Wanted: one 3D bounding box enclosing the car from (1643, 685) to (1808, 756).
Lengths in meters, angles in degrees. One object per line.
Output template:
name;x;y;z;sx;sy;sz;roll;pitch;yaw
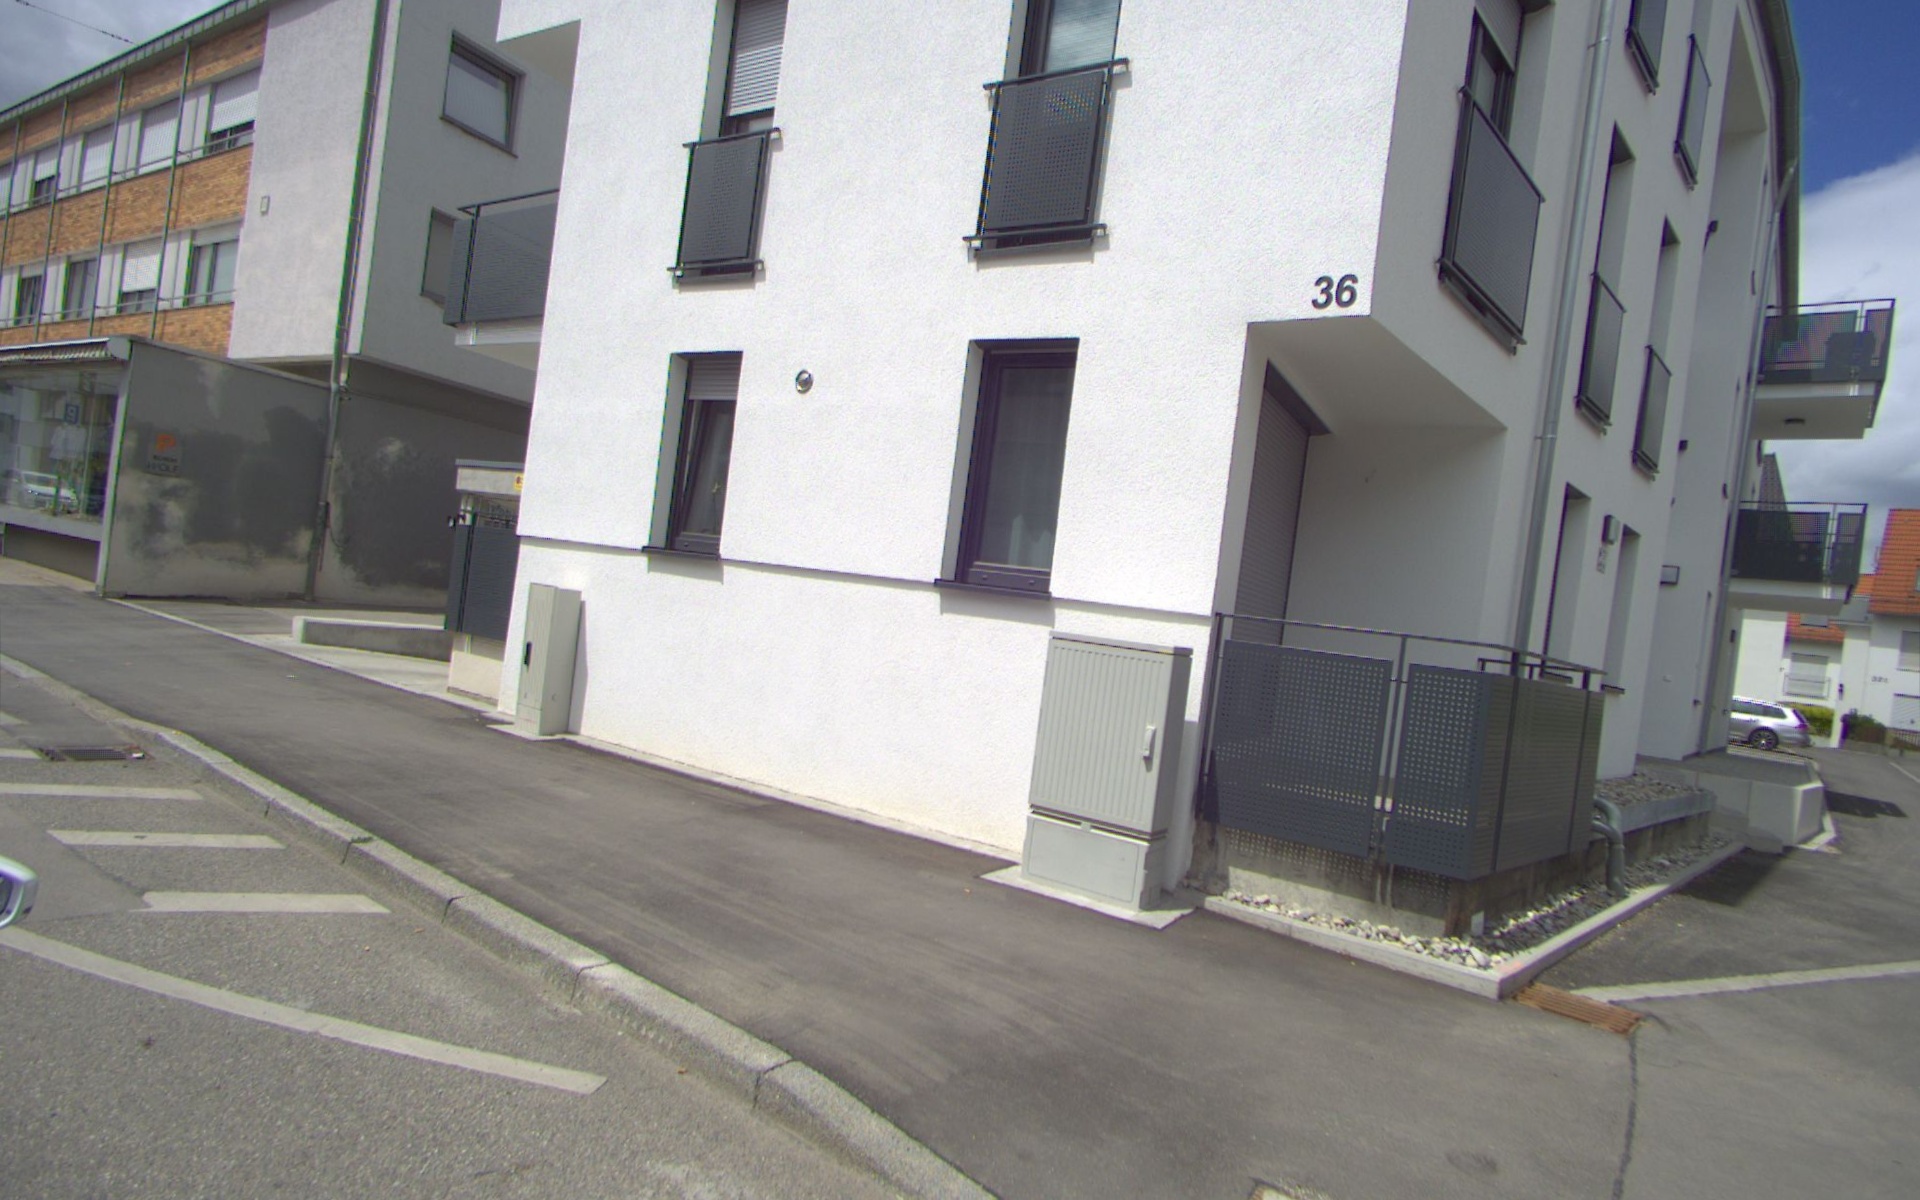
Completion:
car;23.958;3.734;31.558;3.880;1.523;1.690;8;0;42
